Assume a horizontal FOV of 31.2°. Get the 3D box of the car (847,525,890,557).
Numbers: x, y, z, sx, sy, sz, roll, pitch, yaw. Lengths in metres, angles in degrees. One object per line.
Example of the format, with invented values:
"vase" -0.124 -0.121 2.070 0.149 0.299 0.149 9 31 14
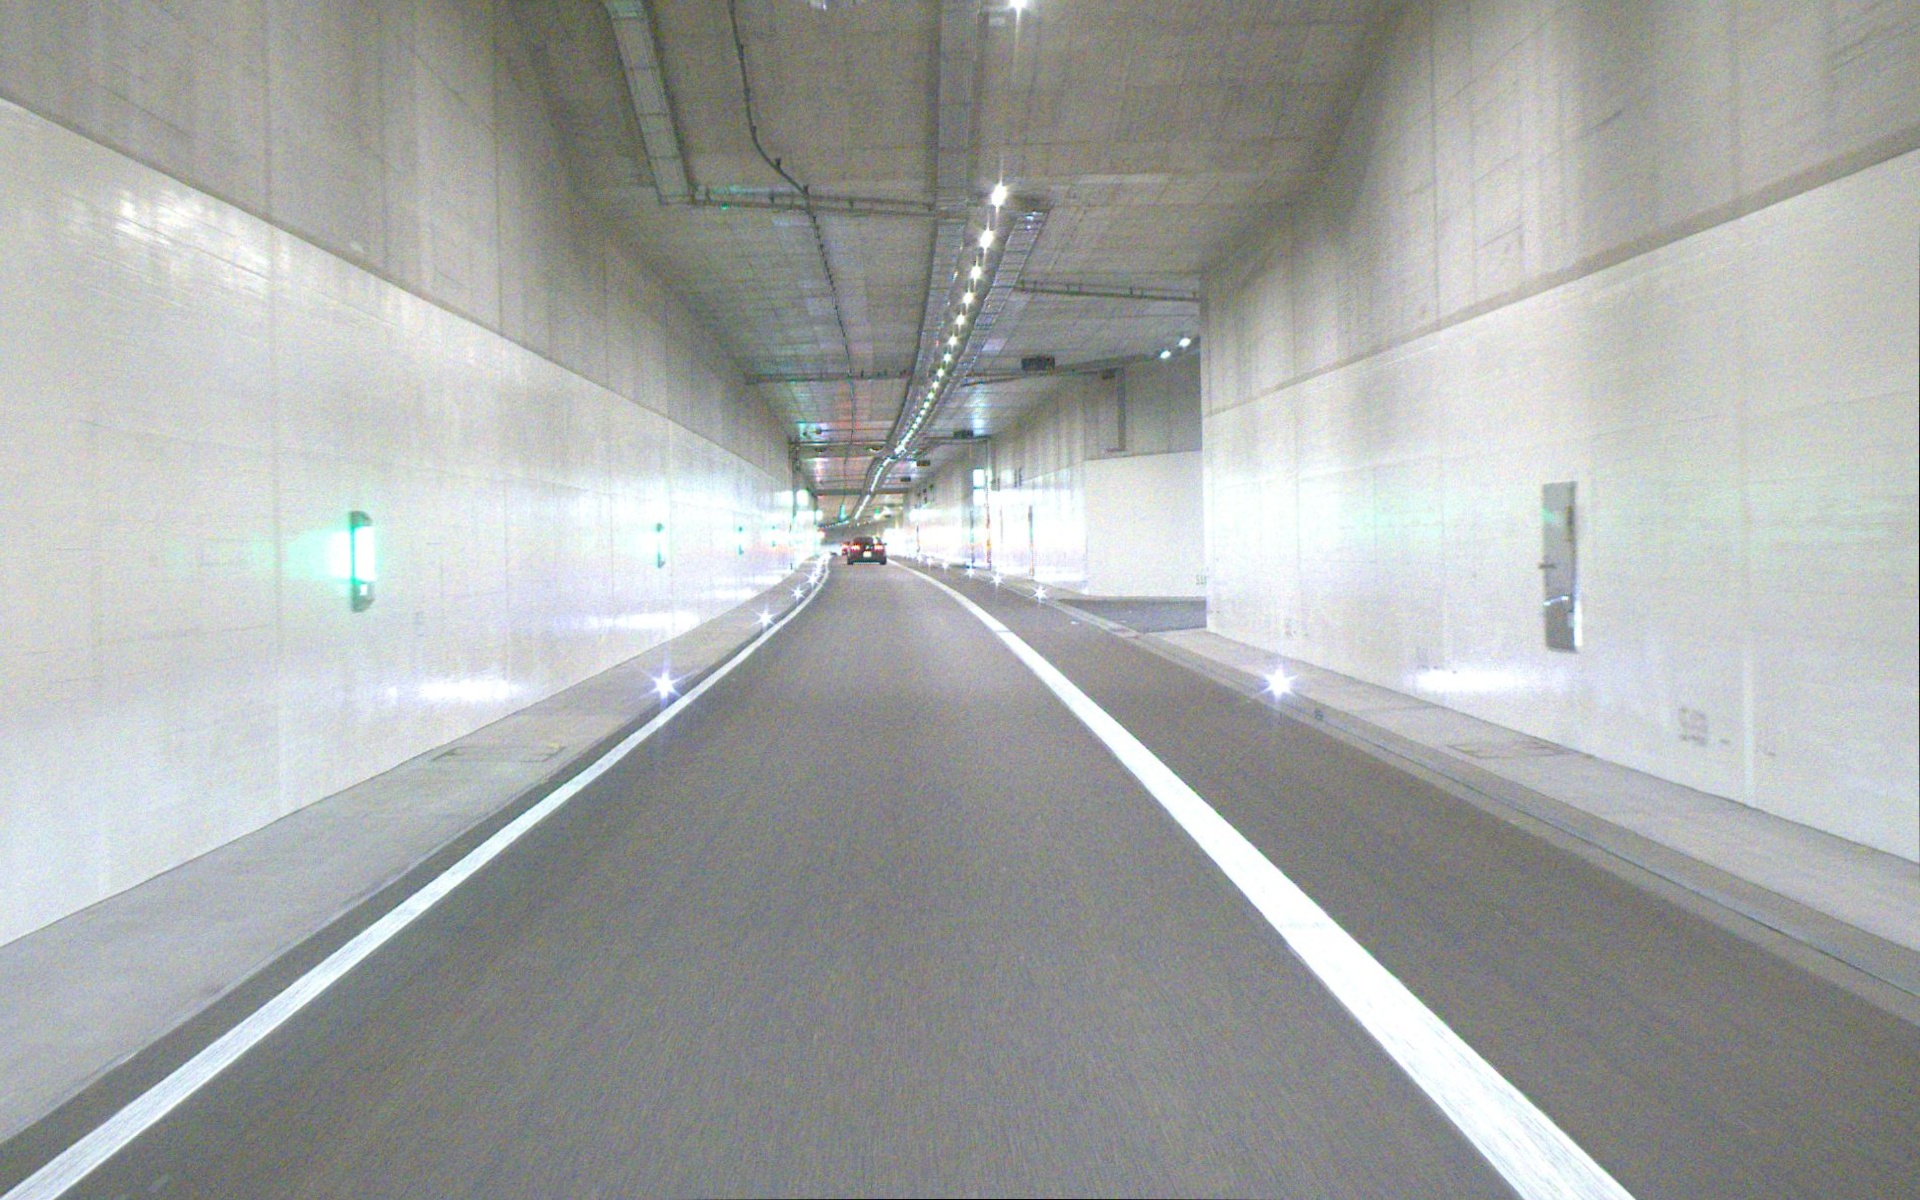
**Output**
"car" -4.439 -2.873 166.274 1.993 1.415 4.001 -3 1 -2
